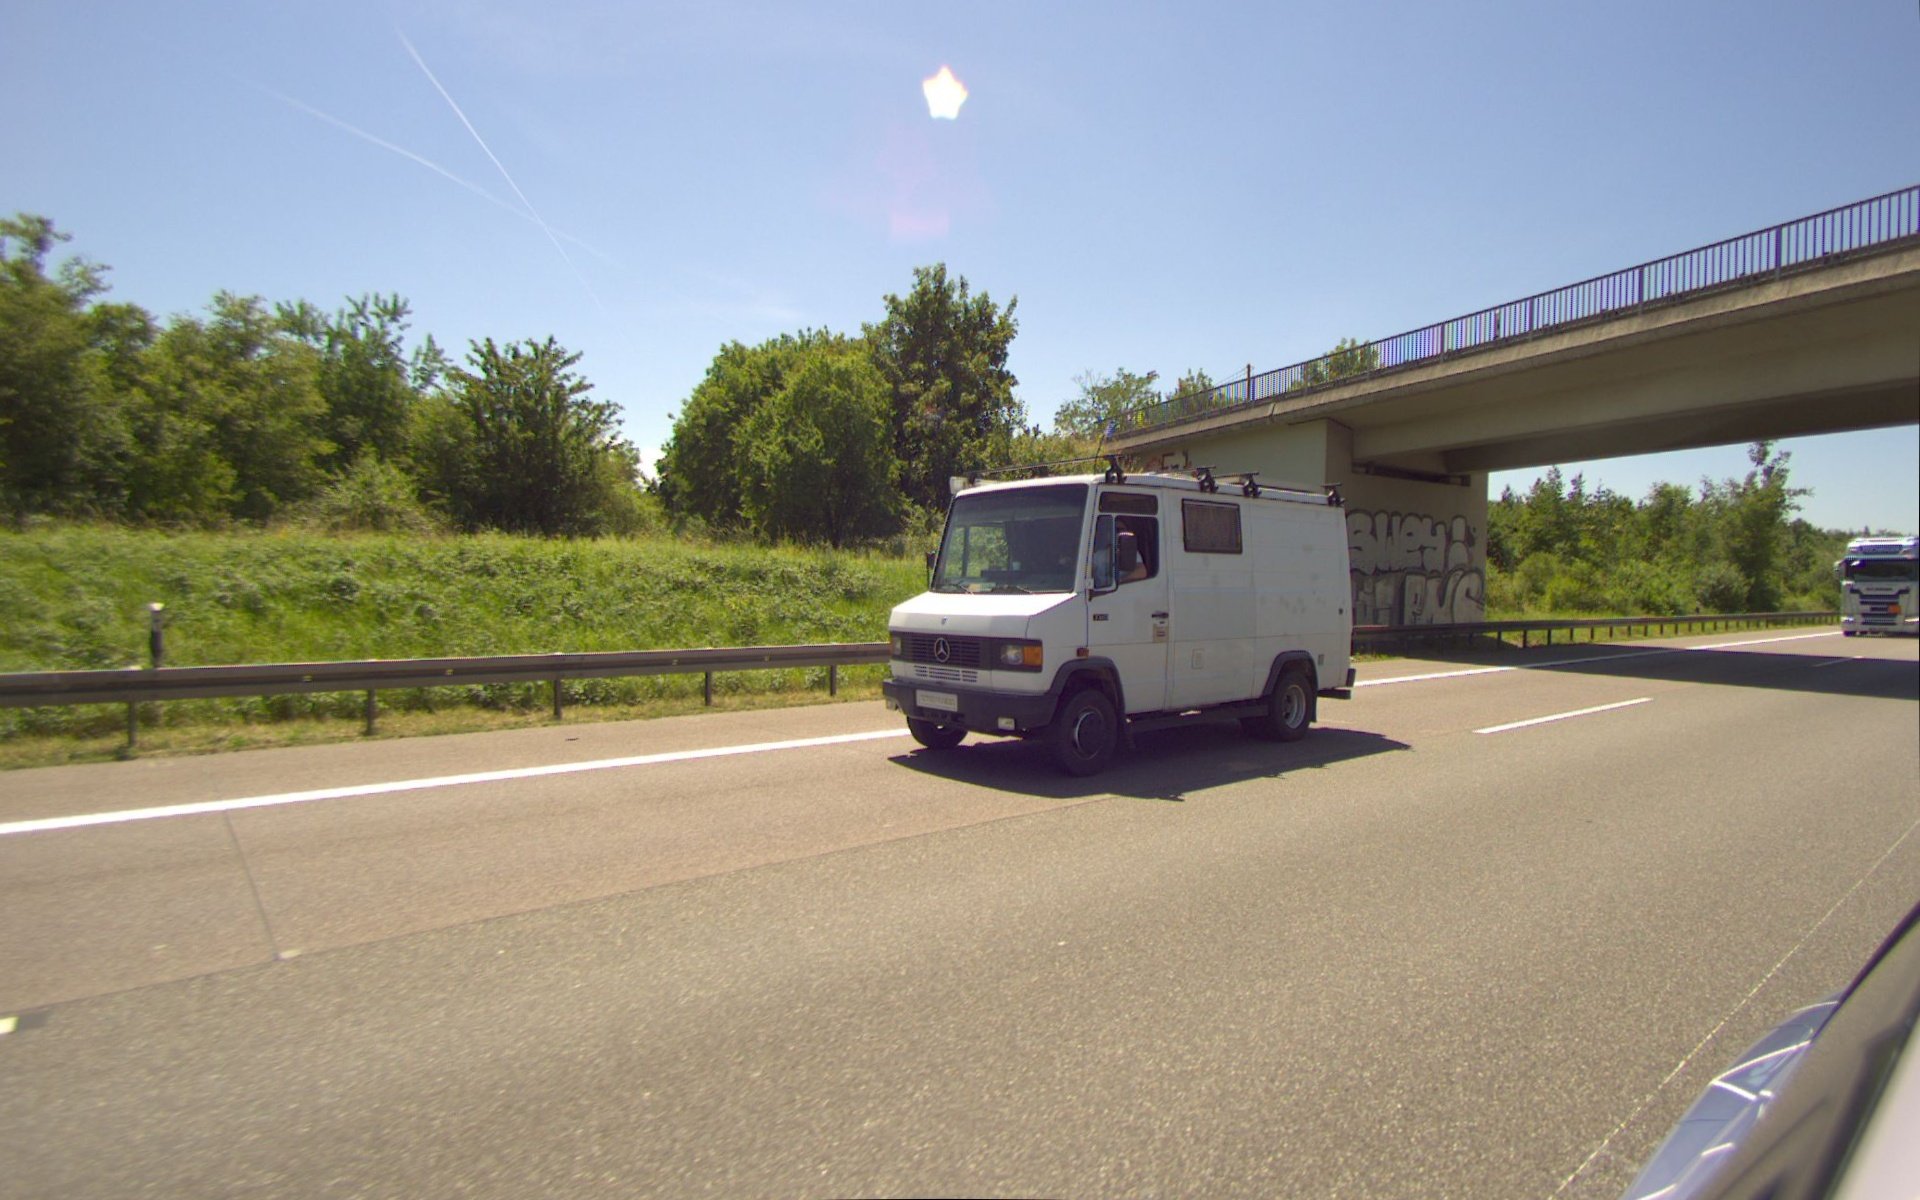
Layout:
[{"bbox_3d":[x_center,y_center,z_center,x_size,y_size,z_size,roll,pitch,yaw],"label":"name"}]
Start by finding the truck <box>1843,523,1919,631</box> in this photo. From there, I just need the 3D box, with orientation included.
[{"bbox_3d":[41.059,-0.923,43.487,13.120,4.097,2.803,-1,0,-41],"label":"truck"}]

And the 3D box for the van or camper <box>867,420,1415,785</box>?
[{"bbox_3d":[2.197,-0.015,10.443,6.256,2.737,2.117,-1,0,-41],"label":"van or camper"}]
